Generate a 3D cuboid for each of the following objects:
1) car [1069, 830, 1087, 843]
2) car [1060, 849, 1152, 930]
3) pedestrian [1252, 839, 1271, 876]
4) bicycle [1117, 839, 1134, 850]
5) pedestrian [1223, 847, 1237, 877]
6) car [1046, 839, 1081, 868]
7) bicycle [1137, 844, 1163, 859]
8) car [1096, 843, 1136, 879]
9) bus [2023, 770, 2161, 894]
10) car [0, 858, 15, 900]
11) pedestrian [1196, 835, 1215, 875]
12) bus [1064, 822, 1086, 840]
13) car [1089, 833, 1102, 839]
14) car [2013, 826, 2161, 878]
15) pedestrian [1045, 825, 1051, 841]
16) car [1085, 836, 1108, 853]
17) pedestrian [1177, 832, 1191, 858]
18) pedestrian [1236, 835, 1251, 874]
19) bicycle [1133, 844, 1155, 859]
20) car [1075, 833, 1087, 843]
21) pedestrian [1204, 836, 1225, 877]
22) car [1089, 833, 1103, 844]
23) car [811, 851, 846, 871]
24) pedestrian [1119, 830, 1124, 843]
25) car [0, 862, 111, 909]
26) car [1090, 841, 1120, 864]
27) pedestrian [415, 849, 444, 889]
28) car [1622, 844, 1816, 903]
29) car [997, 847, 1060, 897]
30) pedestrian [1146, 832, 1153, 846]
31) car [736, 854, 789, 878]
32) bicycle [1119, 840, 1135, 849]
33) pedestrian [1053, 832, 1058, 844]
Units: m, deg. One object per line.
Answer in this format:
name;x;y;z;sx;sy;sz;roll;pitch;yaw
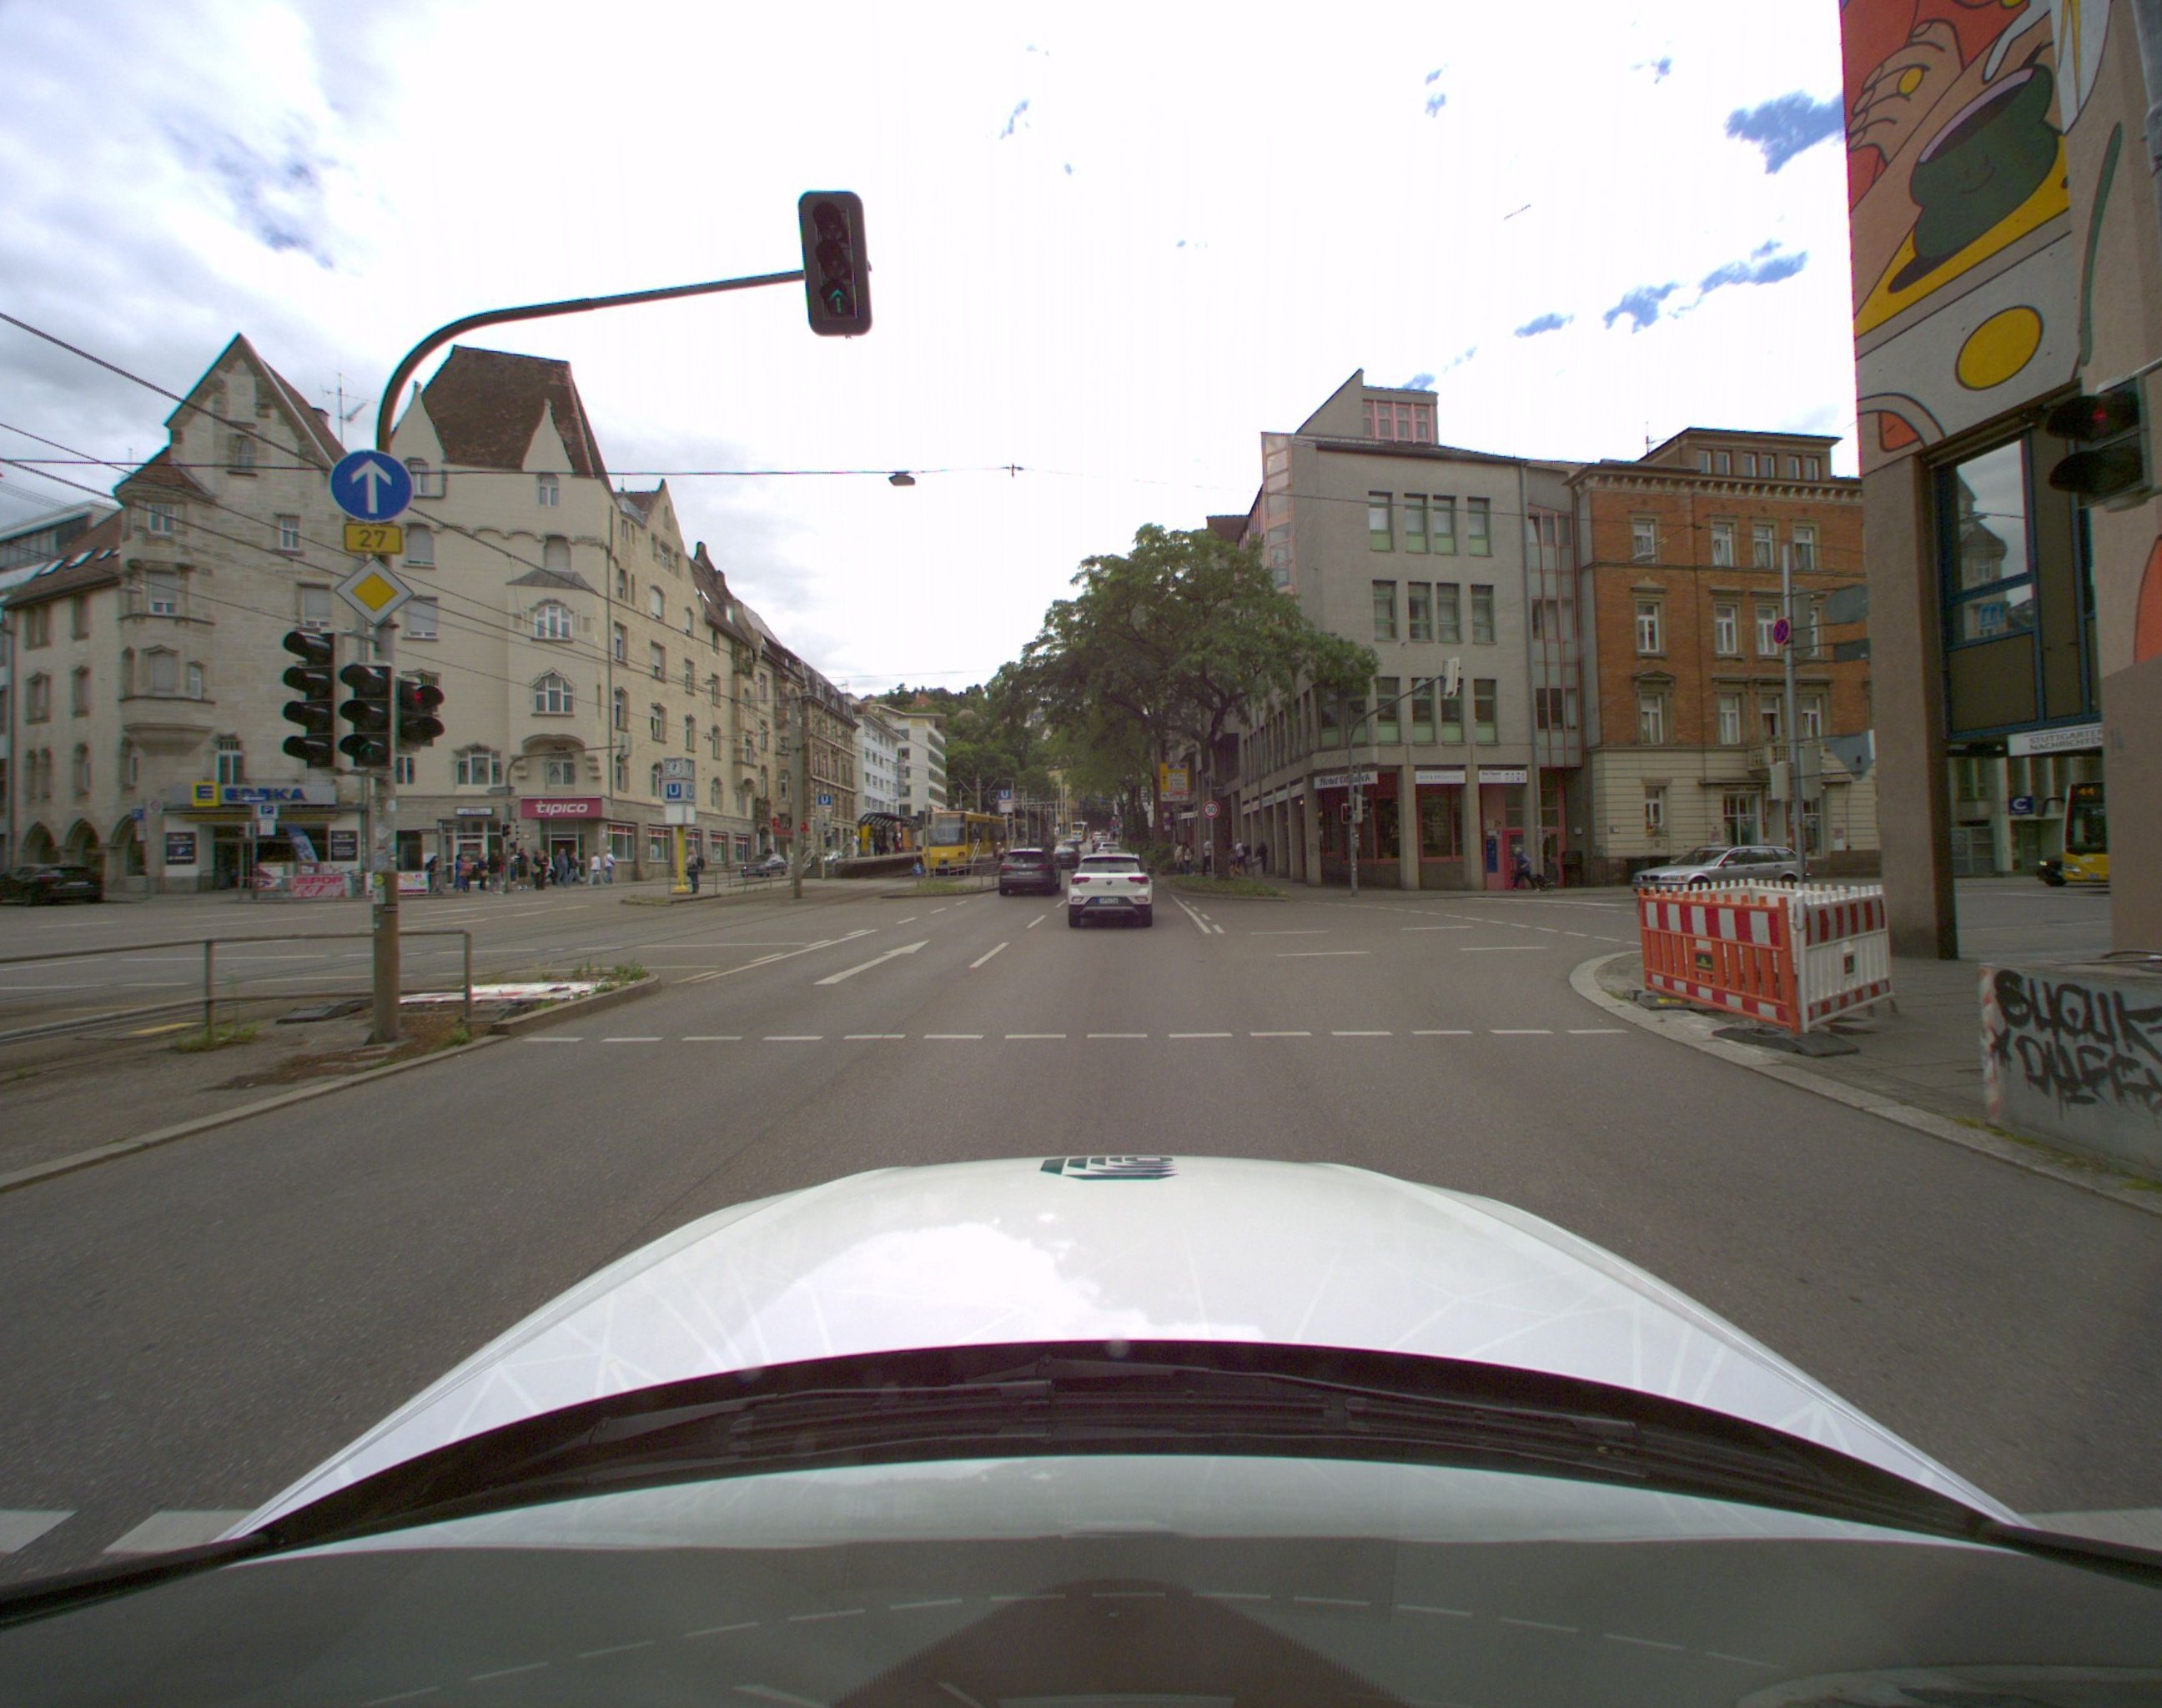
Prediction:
car;-0.440;-2.658;124.906;2.354;2.013;5.154;0;0;4
car;0.653;0.704;18.497;1.829;1.583;4.162;0;1;4
pedestrian;8.156;0.138;36.838;0.757;1.612;0.620;-2;3;12
bicycle;5.271;-1.093;96.012;1.868;1.266;0.767;0;0;11
pedestrian;6.580;0.360;35.965;0.470;1.333;0.519;0;0;-4
car;-1.061;-0.043;51.229;1.904;1.689;4.004;0;2;3
bicycle;5.518;-0.204;65.172;1.911;1.076;0.613;-3;1;-3
car;1.684;0.324;40.459;1.878;1.684;4.161;0;0;0
bus;31.930;-0.649;22.120;11.556;3.043;2.864;-1;0;-11
car;-47.490;1.161;34.365;3.743;1.745;1.644;-3;0;15
pedestrian;5.877;0.059;38.495;0.732;1.874;0.732;-1;0;-4
bus;-1.202;-4.355;158.664;3.366;3.064;13.303;0;0;-4
car;2.782;-3.395;154.677;1.569;1.172;3.696;0;0;18
car;31.259;-0.089;24.776;4.258;1.489;1.992;-1;0;-12
pedestrian;-4.190;-2.660;103.597;0.761;2.013;0.836;0;0;-6
car;1.867;-1.153;98.796;2.360;2.013;5.140;0;0;-4
pedestrian;7.398;-0.659;58.377;0.760;1.782;0.847;-3;3;-4
pedestrian;7.586;0.017;38.003;0.517;1.789;0.763;0;0;-3
bicycle;4.953;-0.193;64.040;1.613;1.128;0.614;-3;1;4
car;-0.034;-2.650;135.808;1.878;1.684;4.162;0;0;1
pedestrian;6.072;0.112;37.089;0.719;1.802;0.833;-3;3;-4
car;2.419;-2.570;133.282;1.881;1.684;4.156;0;0;-4
car;-20.122;0.549;65.049;1.553;1.523;3.602;0;0;2
pedestrian;6.388;-2.695;127.337;0.758;2.013;0.840;0;0;6
car;-40.696;1.244;32.128;3.743;1.684;1.644;-3;0;15
car;1.831;-0.112;63.428;1.882;1.684;4.153;0;0;-6
pedestrian;-29.553;0.668;36.965;0.571;1.780;0.822;-1;0;11
car;17.010;0.488;21.790;4.150;1.428;1.847;-1;0;-12
car;-1.833;0.579;29.541;1.987;1.635;4.000;-1;1;0
pedestrian;8.261;-1.789;98.422;0.638;1.615;0.584;0;0;-20
car;-20.226;0.744;51.859;1.624;1.375;3.789;-2;0;5
bicycle;5.465;-1.150;97.503;1.871;1.137;0.809;0;0;6
pedestrian;-4.318;-2.680;137.240;0.759;2.013;0.838;0;0;1
